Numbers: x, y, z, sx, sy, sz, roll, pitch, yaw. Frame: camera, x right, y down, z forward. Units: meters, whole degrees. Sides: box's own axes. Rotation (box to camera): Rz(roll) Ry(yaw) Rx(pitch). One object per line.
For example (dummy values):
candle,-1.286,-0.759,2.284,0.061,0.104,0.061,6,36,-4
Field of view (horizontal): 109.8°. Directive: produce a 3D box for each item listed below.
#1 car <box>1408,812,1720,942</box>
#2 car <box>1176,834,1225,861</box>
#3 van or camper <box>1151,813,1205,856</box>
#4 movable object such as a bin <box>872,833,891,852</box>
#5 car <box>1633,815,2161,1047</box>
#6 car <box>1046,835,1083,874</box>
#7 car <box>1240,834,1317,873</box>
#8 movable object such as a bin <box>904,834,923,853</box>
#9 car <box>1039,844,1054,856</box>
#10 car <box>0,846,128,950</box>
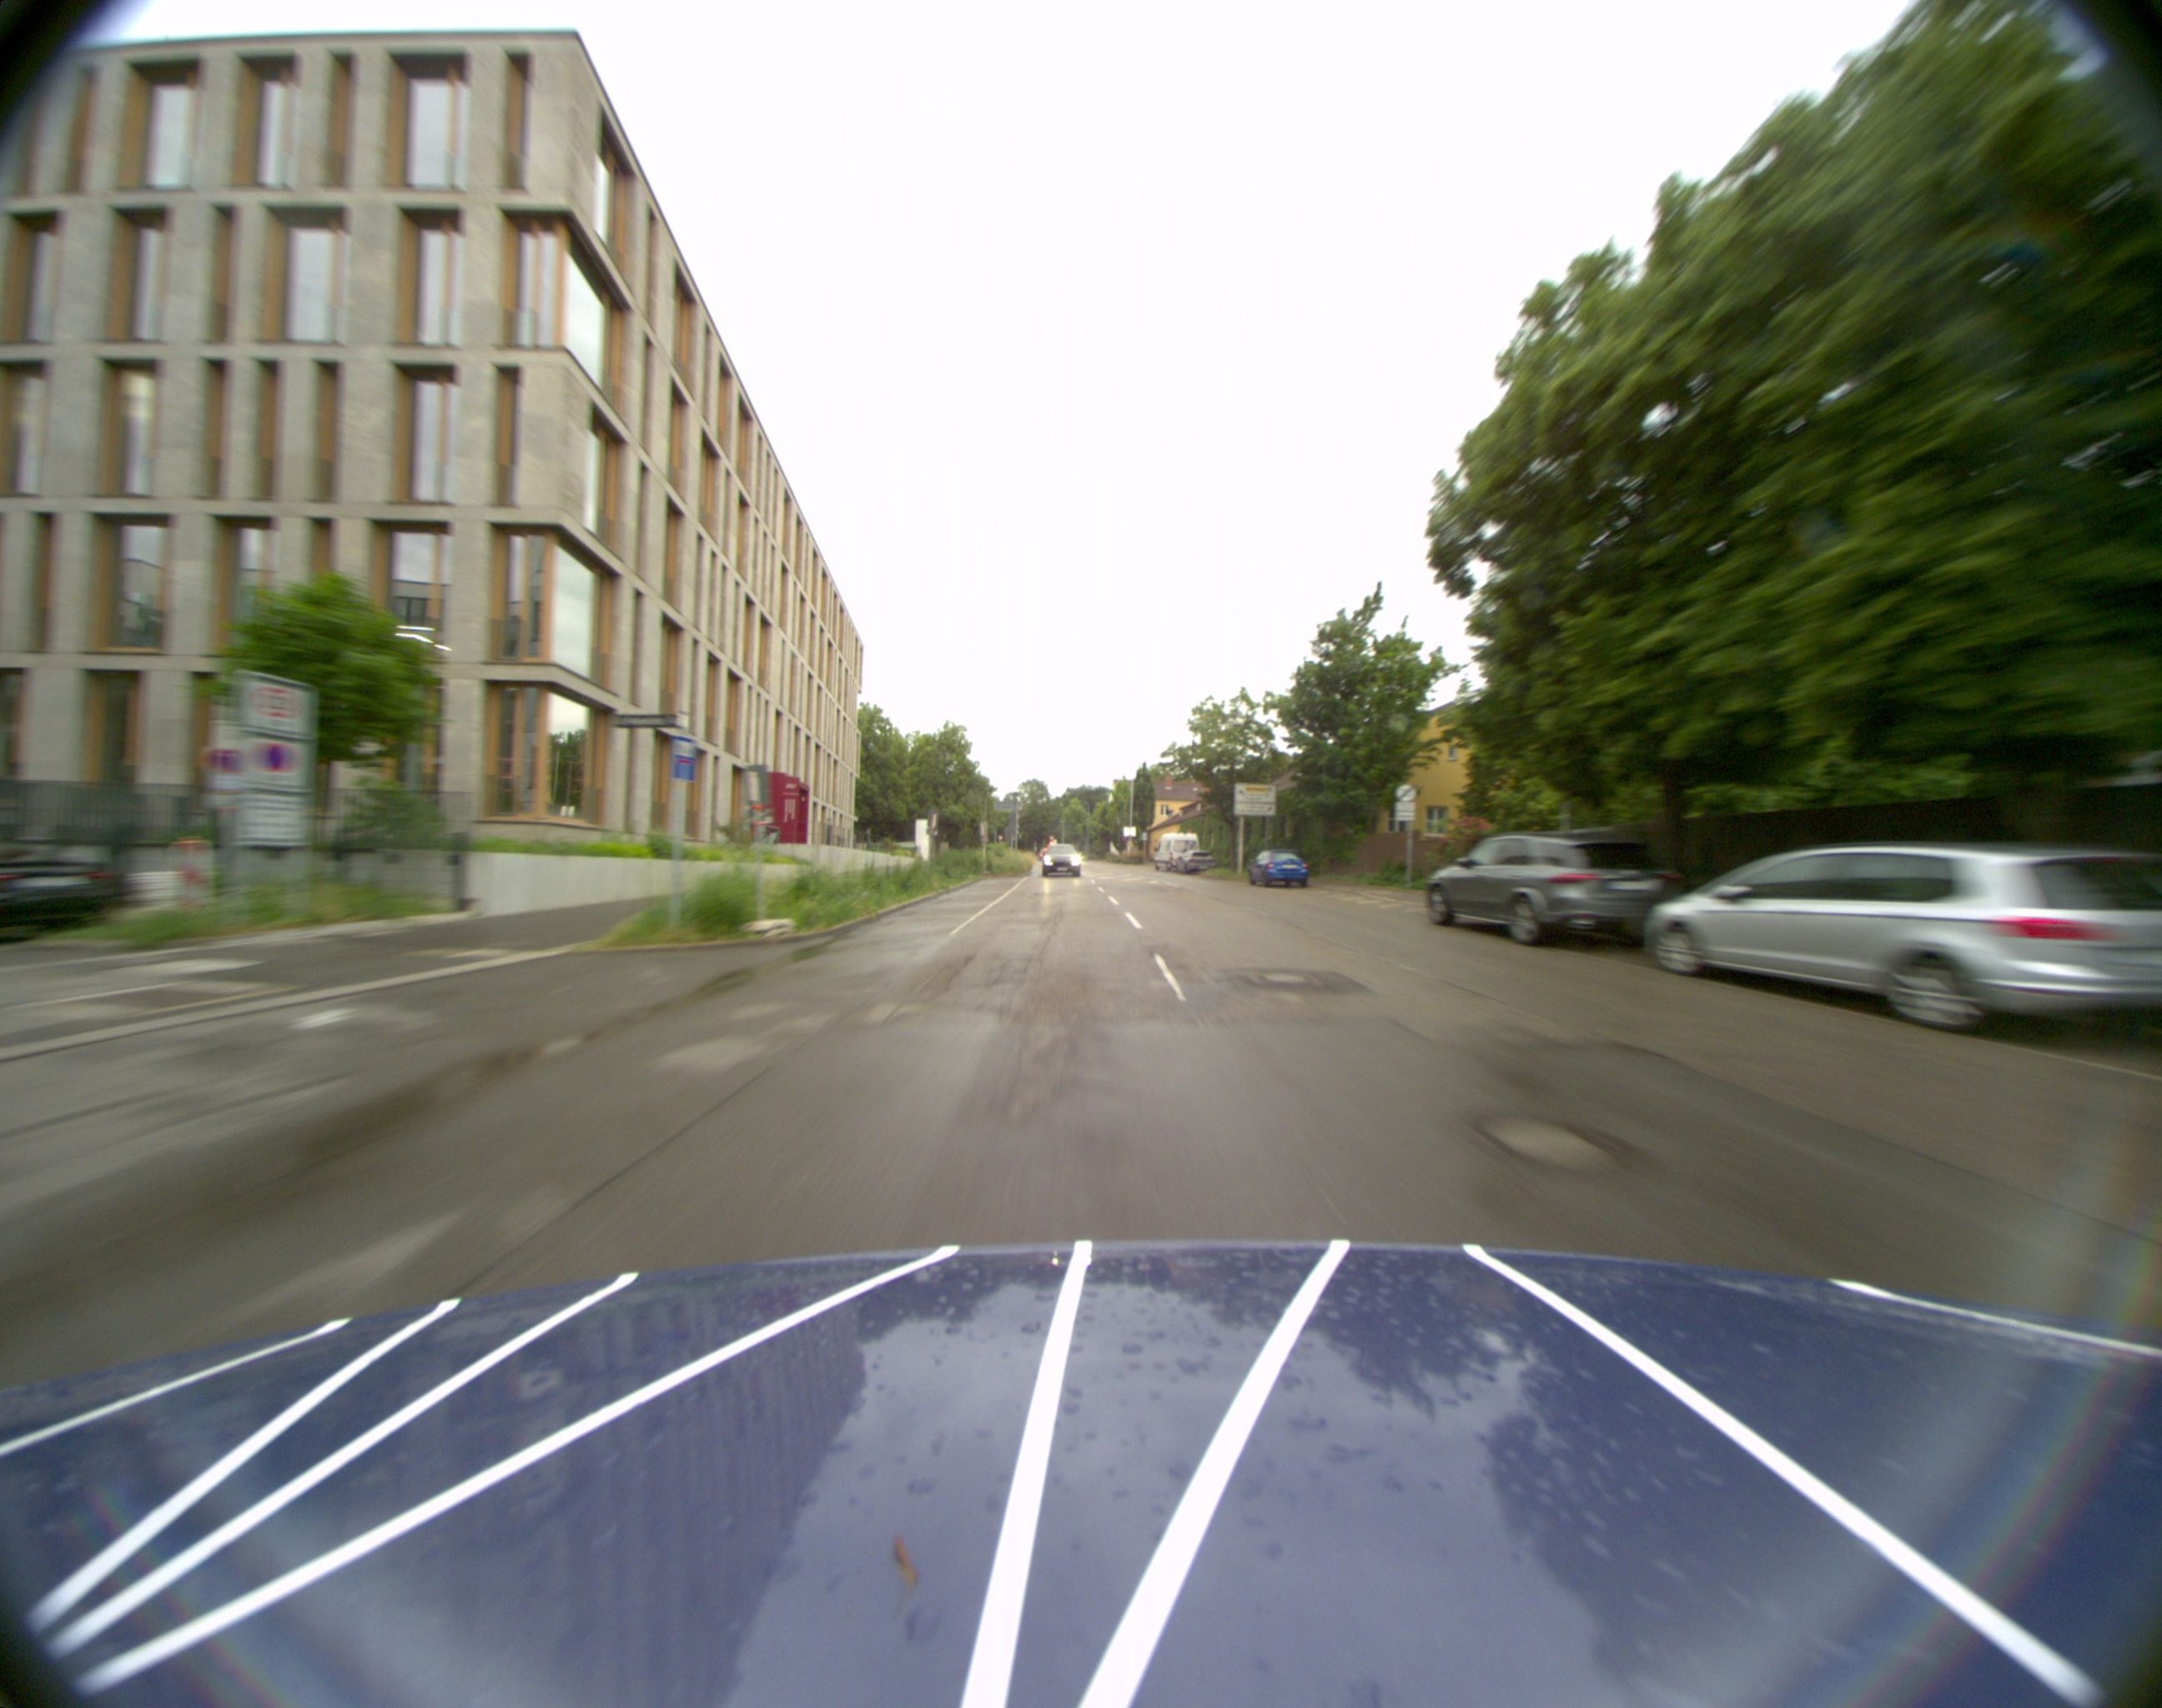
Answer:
car,7.743,0.236,13.064,1.998,1.776,5.409,0,2,2
car,7.162,-0.421,46.000,1.999,1.504,4.420,0,2,-4
van or camper,6.565,-1.314,52.147,2.347,2.749,6.137,0,1,-5
movable object such as a bin,-16.342,-0.937,62.324,1.199,1.495,1.387,0,2,0
car,8.003,0.467,7.403,1.994,1.584,4.488,0,2,1
car,-0.830,-0.033,40.351,1.848,1.961,4.342,0,2,0
car,7.826,-0.069,30.493,1.998,1.462,4.184,0,2,0
movable object such as a bin,-13.742,-0.872,62.269,1.250,1.450,1.110,-2,2,2
car,-5.242,-0.595,114.867,1.901,1.695,4.504,0,2,-8
car,-15.080,0.528,9.446,4.240,1.238,1.729,0,2,0
